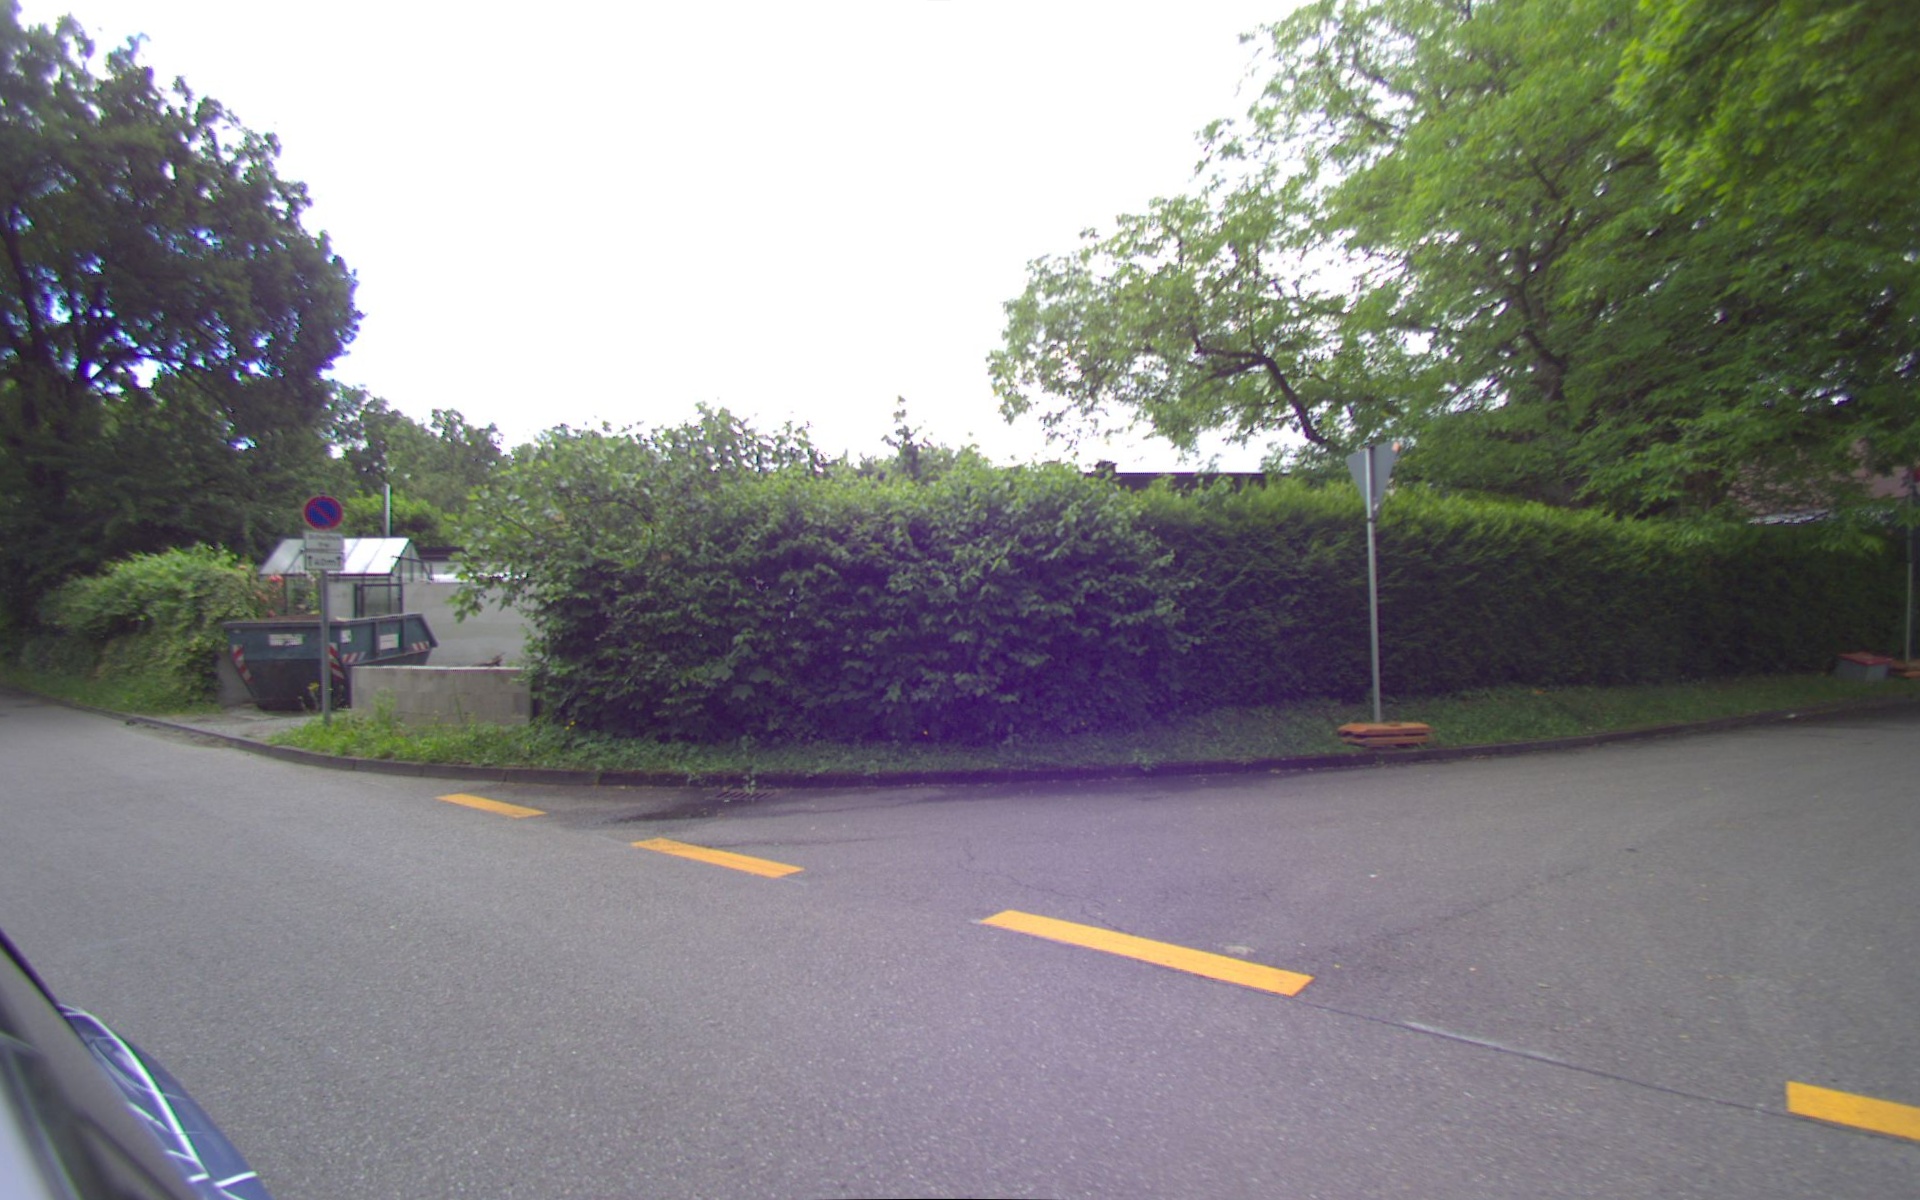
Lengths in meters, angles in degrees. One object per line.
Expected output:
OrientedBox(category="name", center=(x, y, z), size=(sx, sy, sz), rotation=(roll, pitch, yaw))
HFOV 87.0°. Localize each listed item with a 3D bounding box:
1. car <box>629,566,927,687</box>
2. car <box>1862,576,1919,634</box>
OrientedBox(category="car", center=(-3.150, 0.436, 17.899), size=(4.850, 1.819, 2.034), rotation=(-2, -1, -9))
OrientedBox(category="car", center=(24.616, 0.061, 24.157), size=(1.969, 1.386, 4.285), rotation=(-3, -1, -7))
